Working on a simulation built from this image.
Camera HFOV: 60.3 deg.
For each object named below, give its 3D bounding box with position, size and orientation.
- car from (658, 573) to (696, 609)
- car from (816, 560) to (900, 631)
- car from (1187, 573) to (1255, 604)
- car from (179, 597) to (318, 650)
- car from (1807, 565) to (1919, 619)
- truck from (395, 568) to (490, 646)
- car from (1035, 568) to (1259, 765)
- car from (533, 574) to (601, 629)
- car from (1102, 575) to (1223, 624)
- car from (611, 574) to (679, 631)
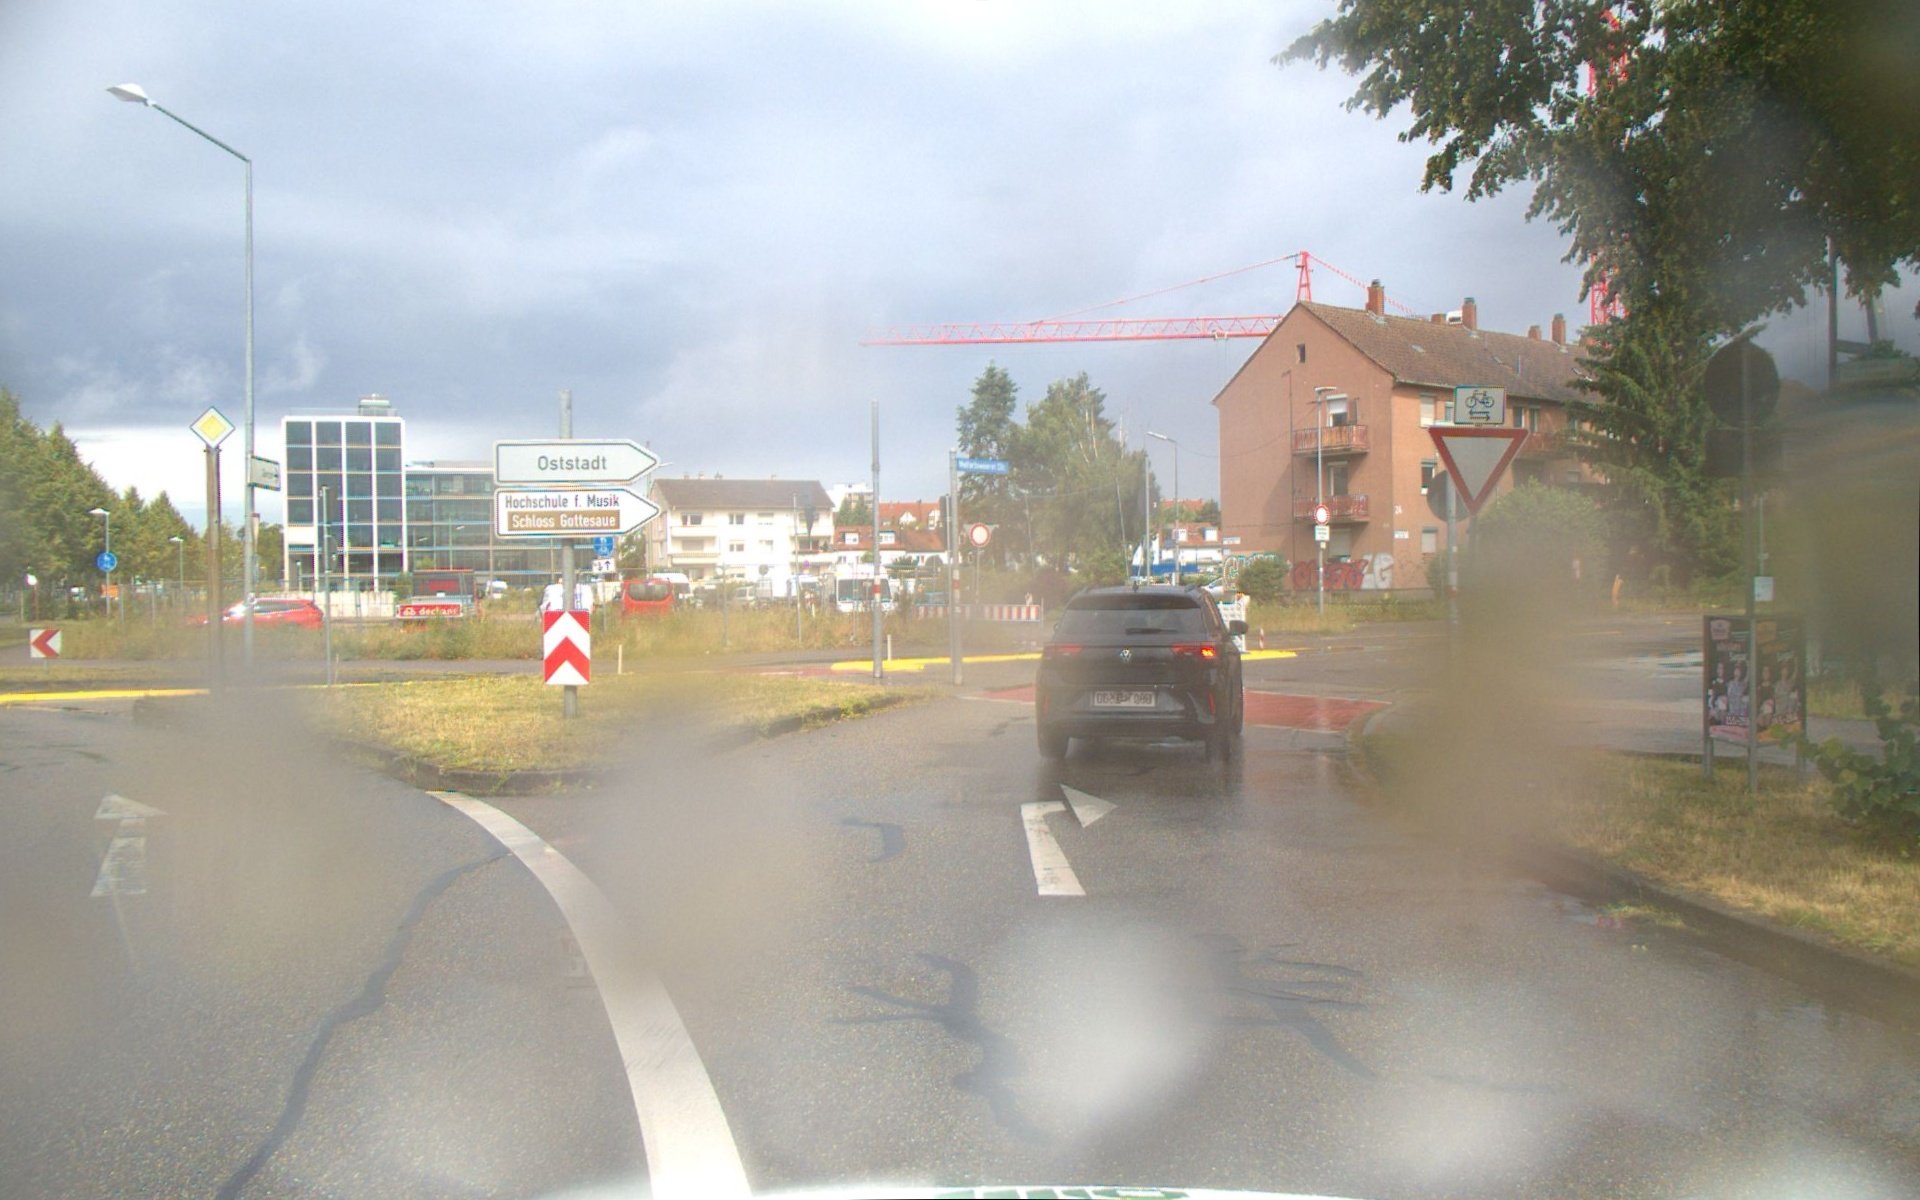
[{"bbox_3d":[-18.579,-0.602,108.500,2.331,2.121,4.958,-1,3,-11],"label":"car"},{"bbox_3d":[-3.504,-0.221,55.715,2.000,2.121,6.250,-1,3,-11],"label":"car"},{"bbox_3d":[13.927,-0.624,88.067,3.435,1.545,1.618,-1,0,14],"label":"car"},{"bbox_3d":[-23.370,0.749,54.425,4.124,1.536,1.844,-1,3,-24],"label":"car"},{"bbox_3d":[32.802,-0.337,59.640,4.643,1.762,2.057,-2,3,-35],"label":"car"},{"bbox_3d":[-16.979,0.146,54.574,2.348,2.249,6.084,-1,3,-12],"label":"truck"},{"bbox_3d":[1.804,0.557,16.014,1.857,1.646,4.003,-1,0,6],"label":"car"},{"bbox_3d":[-13.865,0.032,58.226,1.825,1.729,3.976,-1,3,-21],"label":"car"},{"bbox_3d":[7.152,-0.028,58.572,3.970,1.661,1.614,-1,0,-9],"label":"car"},{"bbox_3d":[-10.765,0.056,56.366,1.893,1.729,3.983,-1,3,-17],"label":"car"}]
